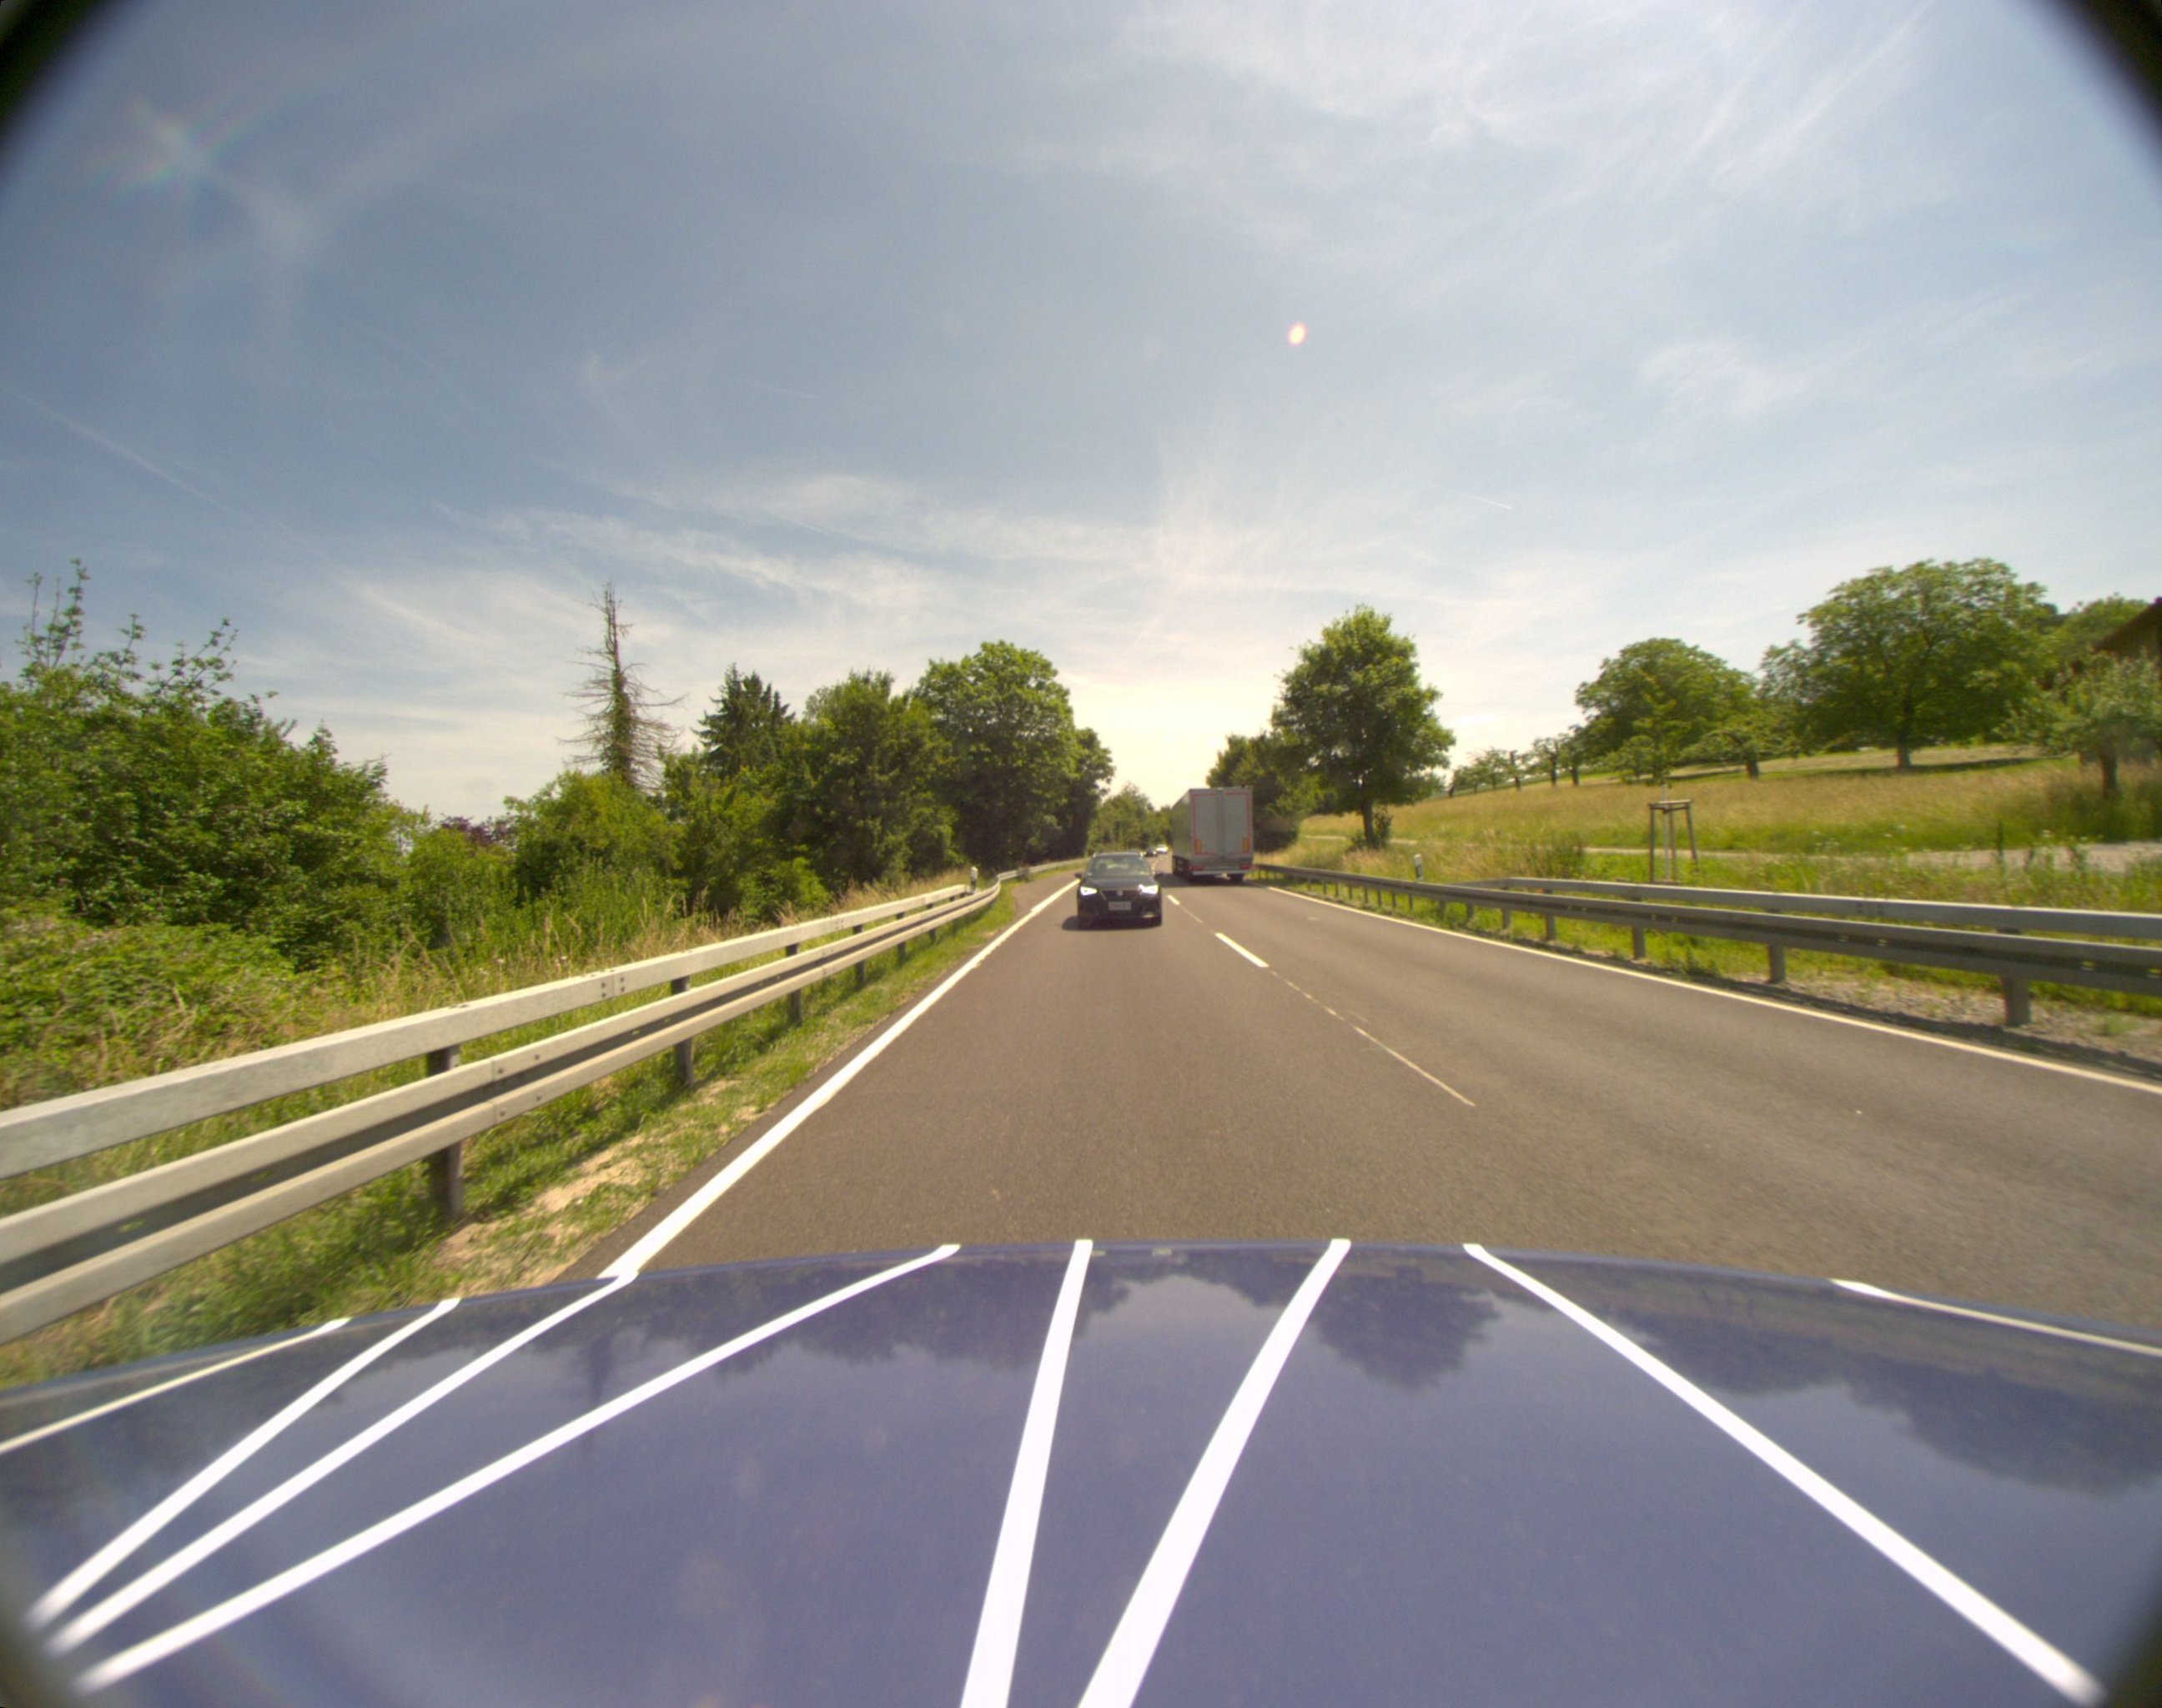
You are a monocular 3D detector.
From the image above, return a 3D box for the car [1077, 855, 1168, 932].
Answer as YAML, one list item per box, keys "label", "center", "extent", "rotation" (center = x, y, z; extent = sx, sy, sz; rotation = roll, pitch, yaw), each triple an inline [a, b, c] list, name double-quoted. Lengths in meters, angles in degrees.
- label: "car"
  center: [0.981, 0.778, 16.784]
  extent: [1.737, 1.467, 4.001]
  rotation: [-1, 0, 5]

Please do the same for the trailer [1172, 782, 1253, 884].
- label: "trailer"
  center: [6.236, -0.921, 38.240]
  extent: [2.451, 4.160, 14.017]
  rotation: [-1, 0, 4]

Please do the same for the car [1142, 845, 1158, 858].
- label: "car"
  center: [9.701, -0.363, 106.458]
  extent: [1.882, 1.698, 4.003]
  rotation: [-1, 0, 11]

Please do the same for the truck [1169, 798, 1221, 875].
- label: "truck"
  center: [6.542, -0.984, 44.246]
  extent: [2.451, 4.170, 5.649]
  rotation: [-1, 1, 3]

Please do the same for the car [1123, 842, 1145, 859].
- label: "car"
  center: [5.547, -0.357, 79.133]
  extent: [1.882, 1.698, 4.003]
  rotation: [-1, 0, 10]

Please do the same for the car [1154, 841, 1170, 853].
- label: "car"
  center: [13.684, -1.222, 128.232]
  extent: [1.996, 2.002, 4.004]
  rotation: [-1, 1, 14]
